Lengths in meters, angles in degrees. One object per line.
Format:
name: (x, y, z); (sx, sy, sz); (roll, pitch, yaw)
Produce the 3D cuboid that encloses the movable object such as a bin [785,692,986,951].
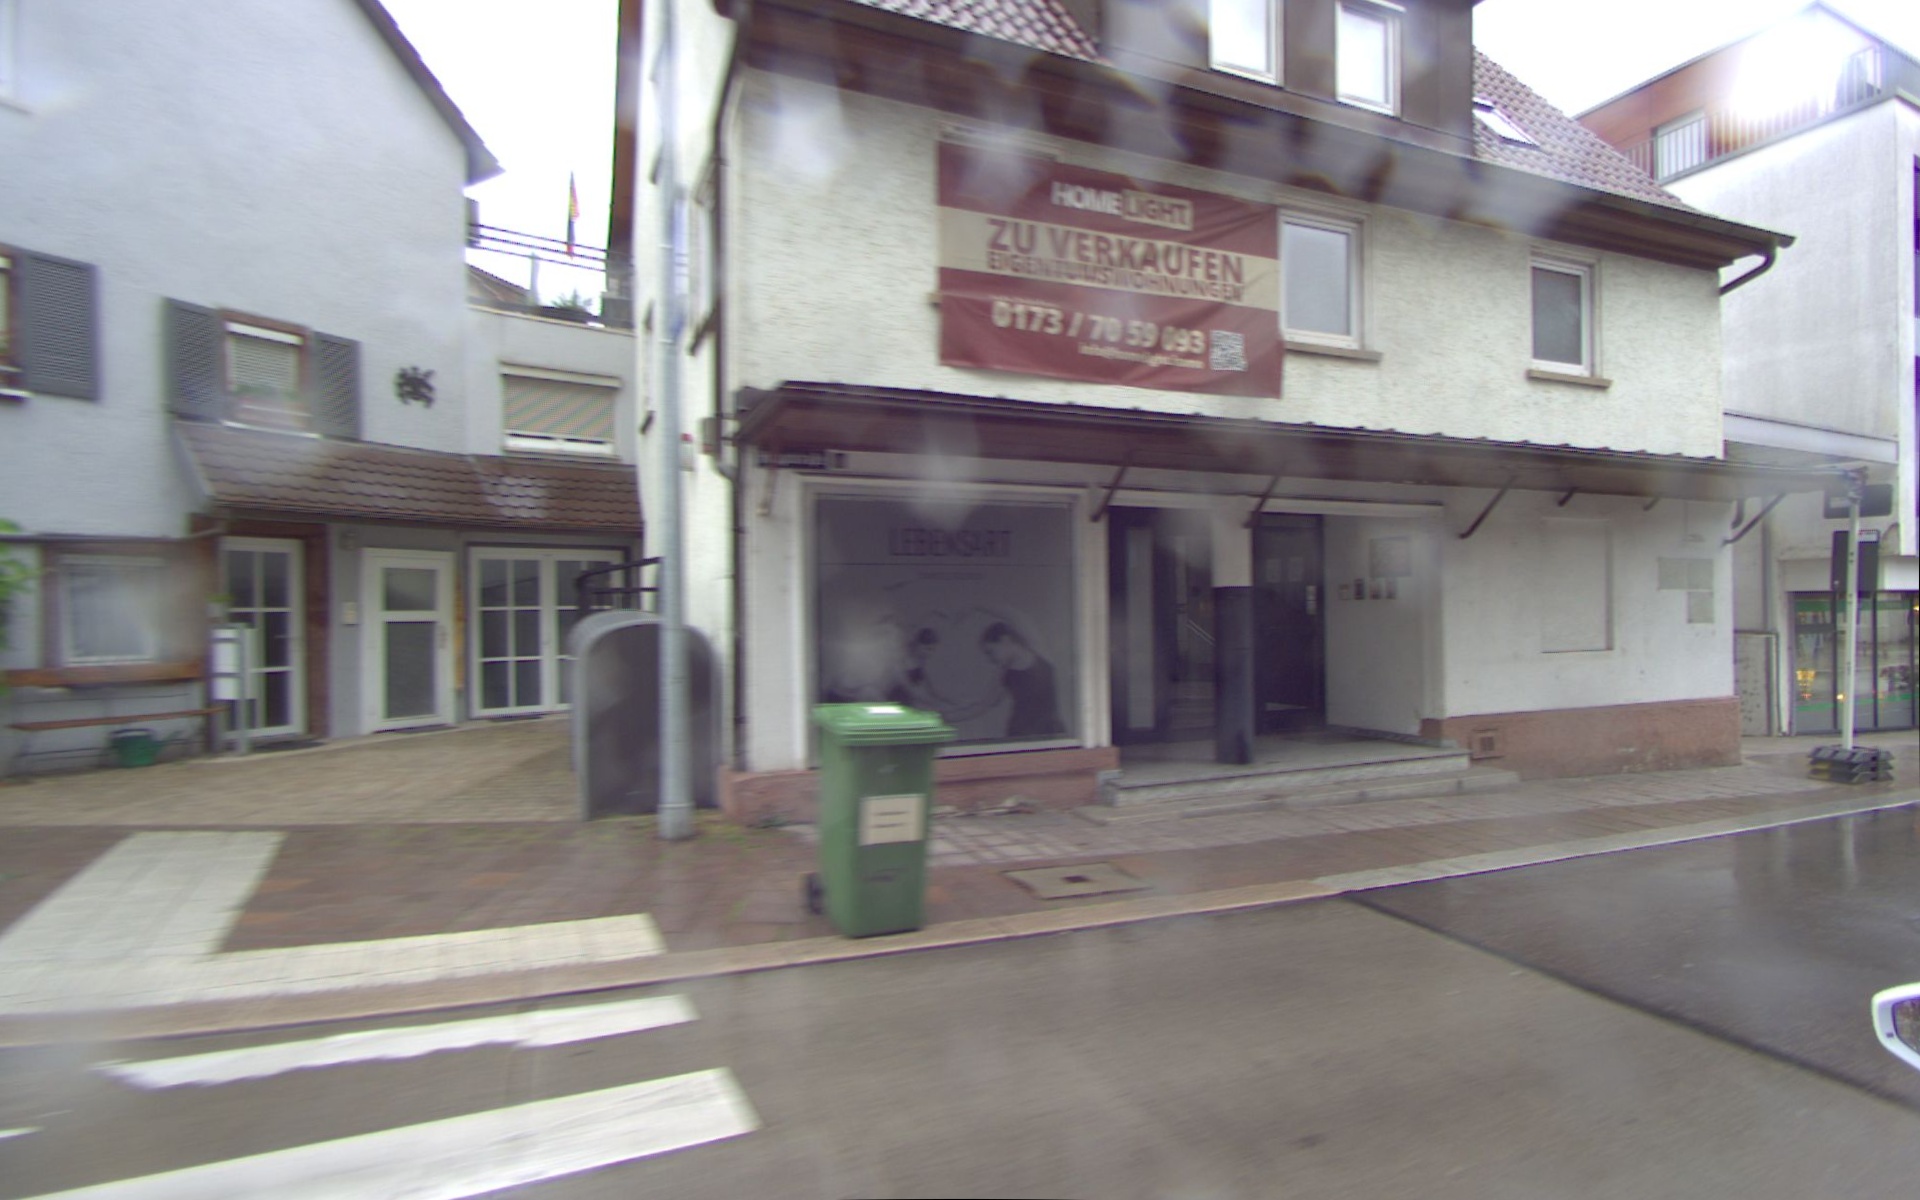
movable object such as a bin: (-0.385, 1.049, 5.036); (0.752, 1.095, 0.684); (2, 1, -30)
